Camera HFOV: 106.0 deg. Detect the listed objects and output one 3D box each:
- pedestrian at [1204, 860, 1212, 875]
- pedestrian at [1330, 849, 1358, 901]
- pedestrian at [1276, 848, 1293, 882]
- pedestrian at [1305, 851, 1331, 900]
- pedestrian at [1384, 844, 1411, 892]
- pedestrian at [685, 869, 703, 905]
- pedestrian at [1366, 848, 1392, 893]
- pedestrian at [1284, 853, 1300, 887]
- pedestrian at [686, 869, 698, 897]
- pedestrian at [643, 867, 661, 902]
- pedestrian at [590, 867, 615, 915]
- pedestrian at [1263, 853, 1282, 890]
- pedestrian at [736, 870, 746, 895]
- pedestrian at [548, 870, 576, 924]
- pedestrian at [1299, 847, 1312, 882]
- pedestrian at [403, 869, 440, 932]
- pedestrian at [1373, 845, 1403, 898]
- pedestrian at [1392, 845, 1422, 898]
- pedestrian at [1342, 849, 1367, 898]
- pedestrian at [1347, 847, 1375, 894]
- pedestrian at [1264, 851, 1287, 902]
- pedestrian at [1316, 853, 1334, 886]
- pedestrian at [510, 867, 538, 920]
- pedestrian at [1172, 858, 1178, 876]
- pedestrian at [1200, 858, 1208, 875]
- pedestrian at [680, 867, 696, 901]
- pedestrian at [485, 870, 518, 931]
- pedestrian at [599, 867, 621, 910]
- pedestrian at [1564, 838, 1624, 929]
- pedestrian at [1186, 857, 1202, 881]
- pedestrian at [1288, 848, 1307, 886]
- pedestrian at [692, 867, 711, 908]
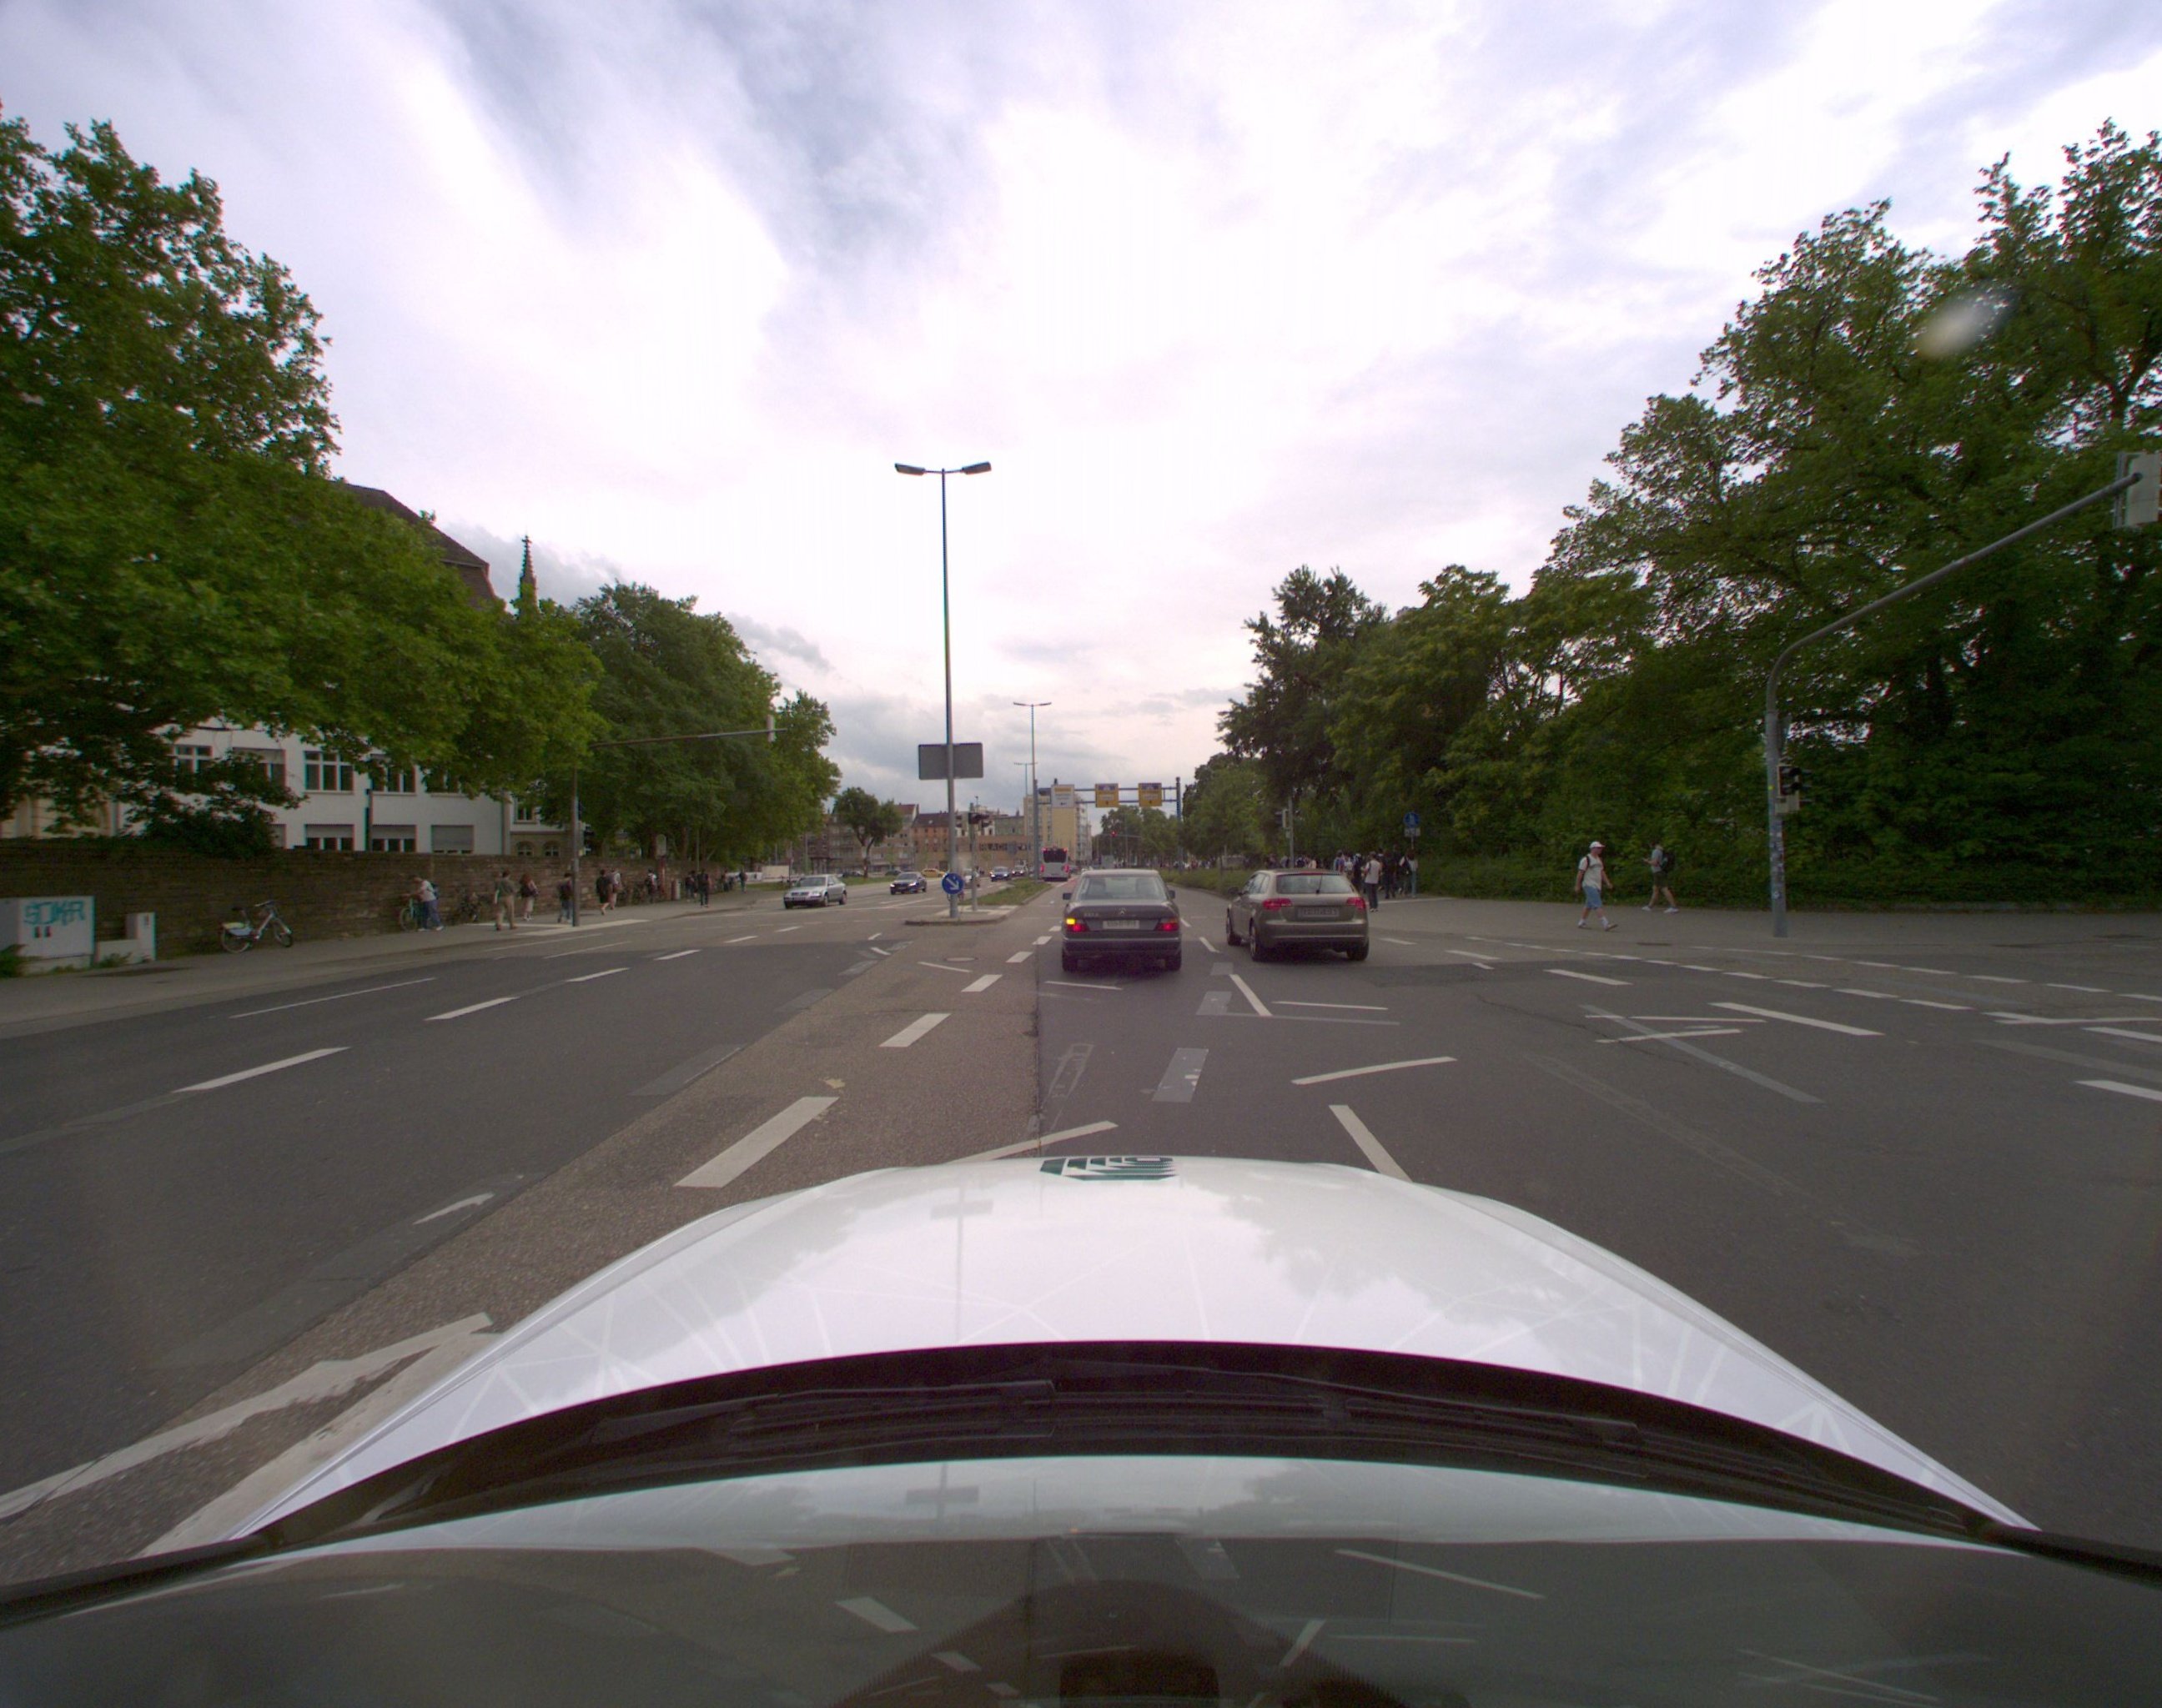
[{"bbox_3d":[12.398,1.284,79.633,0.652,1.470,0.564,-2,-1,17],"label":"pedestrian"},{"bbox_3d":[9.082,0.707,28.139,0.622,1.745,0.779,-2,-1,-2],"label":"pedestrian"},{"bbox_3d":[10.703,0.578,42.832,0.617,1.735,0.814,-2,-1,1],"label":"pedestrian"},{"bbox_3d":[8.628,0.776,29.726,0.655,1.745,0.779,-2,-1,-2],"label":"pedestrian"},{"bbox_3d":[11.756,0.514,30.246,0.655,1.745,0.779,-2,-1,-2],"label":"pedestrian"},{"bbox_3d":[-19.618,1.653,41.286,0.763,1.783,0.915,0,-3,-29],"label":"pedestrian"},{"bbox_3d":[11.451,0.638,31.340,0.655,1.699,0.779,-2,-1,-2],"label":"pedestrian"},{"bbox_3d":[10.577,0.789,40.803,0.554,1.655,0.753,-2,-1,1],"label":"pedestrian"},{"bbox_3d":[-22.918,1.712,48.038,0.588,1.592,0.730,0,-3,-22],"label":"pedestrian"},{"bbox_3d":[-20.575,1.453,39.029,0.763,1.671,0.916,0,-1,-29],"label":"pedestrian"},{"bbox_3d":[-18.083,1.384,30.779,0.763,1.783,0.776,0,-3,-29],"label":"pedestrian"},{"bbox_3d":[9.610,0.893,40.901,0.690,1.821,0.954,-2,-1,1],"label":"pedestrian"},{"bbox_3d":[-22.834,1.891,54.709,0.561,1.668,0.623,-1,-3,-17],"label":"pedestrian"},{"bbox_3d":[-17.527,1.450,27.517,0.763,1.783,0.776,0,-3,-30],"label":"pedestrian"},{"bbox_3d":[11.584,0.532,42.022,0.482,1.763,0.664,-2,-1,1],"label":"pedestrian"},{"bbox_3d":[-19.074,1.345,23.571,0.750,1.783,0.775,0,-3,-35],"label":"pedestrian"},{"bbox_3d":[10.475,0.596,27.777,0.655,1.745,0.779,-2,-1,-2],"label":"pedestrian"},{"bbox_3d":[11.155,0.595,27.864,0.655,1.745,0.779,-2,-1,-2],"label":"pedestrian"},{"bbox_3d":[9.933,0.702,29.602,0.579,1.745,0.789,-2,-1,-2],"label":"pedestrian"},{"bbox_3d":[10.747,0.634,31.276,0.655,1.766,0.957,-3,-1,-2],"label":"pedestrian"},{"bbox_3d":[6.747,0.781,28.235,0.600,1.735,0.654,-1,-1,-2],"label":"pedestrian"},{"bbox_3d":[11.875,0.747,39.622,0.633,1.584,0.785,-2,-1,1],"label":"pedestrian"},{"bbox_3d":[-19.151,1.351,28.012,0.764,1.783,0.776,0,-3,-32],"label":"pedestrian"},{"bbox_3d":[11.040,1.504,95.236,0.612,2.014,0.597,-1,-1,-1],"label":"pedestrian"},{"bbox_3d":[12.687,1.273,84.039,0.641,1.713,0.564,-2,-1,15],"label":"pedestrian"},{"bbox_3d":[-20.842,1.592,43.170,0.763,1.783,0.776,0,-3,-29],"label":"pedestrian"},{"bbox_3d":[-17.474,1.396,24.578,0.749,1.783,0.776,0,-3,-33],"label":"pedestrian"},{"bbox_3d":[-20.113,1.471,34.782,0.763,1.783,0.906,0,-3,-29],"label":"pedestrian"},{"bbox_3d":[10.662,0.606,16.946,0.645,1.852,0.825,0,-1,-14],"label":"pedestrian"},{"bbox_3d":[8.933,1.192,64.197,0.925,1.830,0.892,-2,-1,27],"label":"pedestrian"},{"bbox_3d":[10.367,0.616,38.976,0.654,1.821,0.812,-2,-1,1],"label":"pedestrian"},{"bbox_3d":[-16.816,1.492,36.087,0.762,1.783,0.716,0,-3,-24],"label":"pedestrian"}]
